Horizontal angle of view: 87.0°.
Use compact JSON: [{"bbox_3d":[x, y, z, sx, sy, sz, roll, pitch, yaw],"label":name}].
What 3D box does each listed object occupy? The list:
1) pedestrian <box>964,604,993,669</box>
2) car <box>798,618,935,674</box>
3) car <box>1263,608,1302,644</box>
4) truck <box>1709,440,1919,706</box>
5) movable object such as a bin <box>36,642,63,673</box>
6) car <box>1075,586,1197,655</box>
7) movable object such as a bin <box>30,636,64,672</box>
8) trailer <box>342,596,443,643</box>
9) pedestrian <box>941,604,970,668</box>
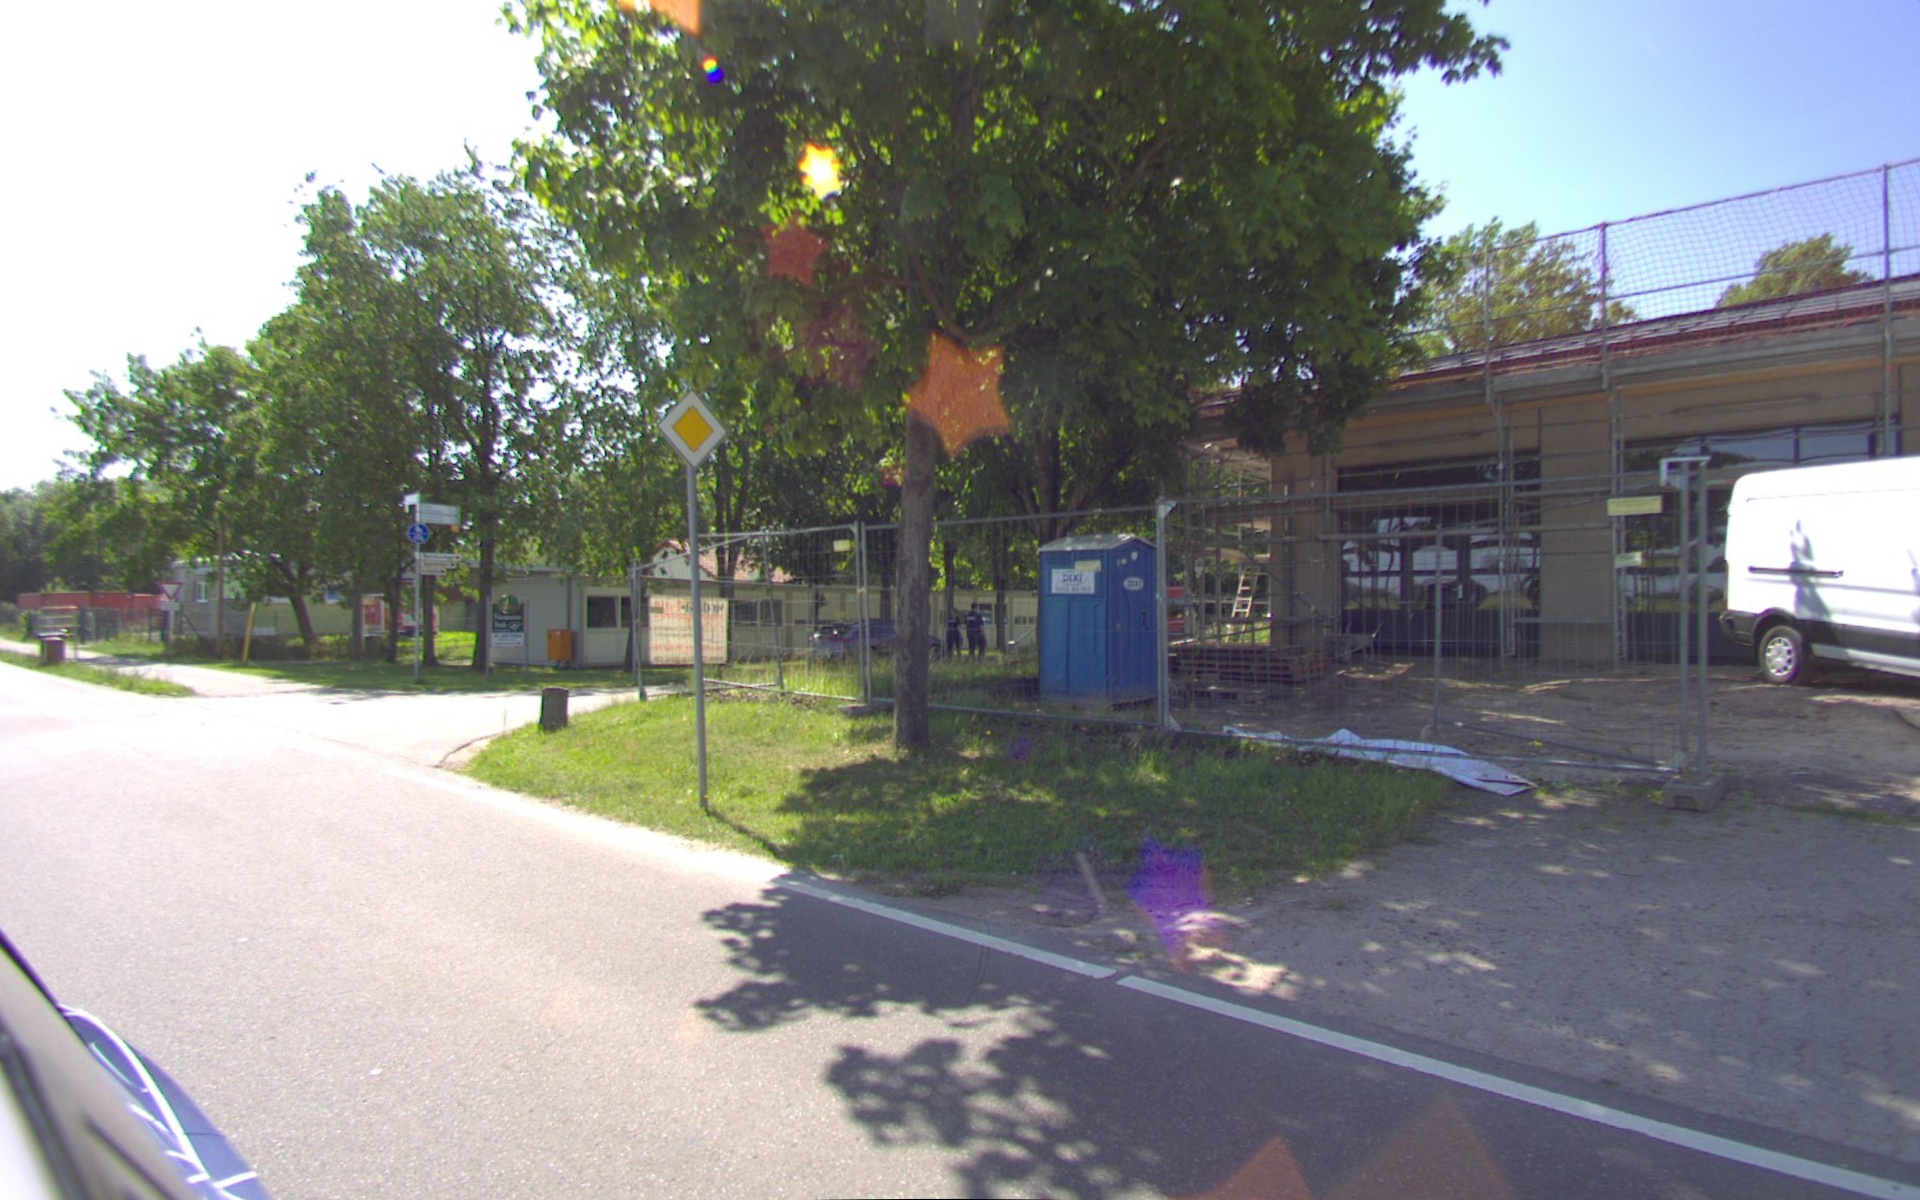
[{"bbox_3d":[0.522,1.012,27.977,0.585,1.764,0.598,-1,-2,33],"label":"pedestrian"},{"bbox_3d":[-2.497,1.224,27.825,1.755,1.410,3.767,-1,-2,34],"label":"car"},{"bbox_3d":[16.685,1.356,52.326,1.655,1.763,3.722,-1,-2,22],"label":"car"},{"bbox_3d":[10.014,-0.254,9.392,1.974,2.502,5.926,0,2,4],"label":"truck"},{"bbox_3d":[-26.455,1.662,29.412,0.555,0.883,0.614,2,-2,-40],"label":"movable object such as a bin"},{"bbox_3d":[7.214,0.857,40.917,2.120,2.597,5.996,-1,-2,40],"label":"car"},{"bbox_3d":[-27.046,1.595,29.981,0.690,1.032,0.749,2,-2,-40],"label":"movable object such as a bin"},{"bbox_3d":[-28.927,1.017,51.709,1.820,2.295,4.196,-1,-2,28],"label":"trailer"},{"bbox_3d":[-0.118,1.004,28.353,0.585,1.764,0.598,-1,-2,33],"label":"pedestrian"}]
